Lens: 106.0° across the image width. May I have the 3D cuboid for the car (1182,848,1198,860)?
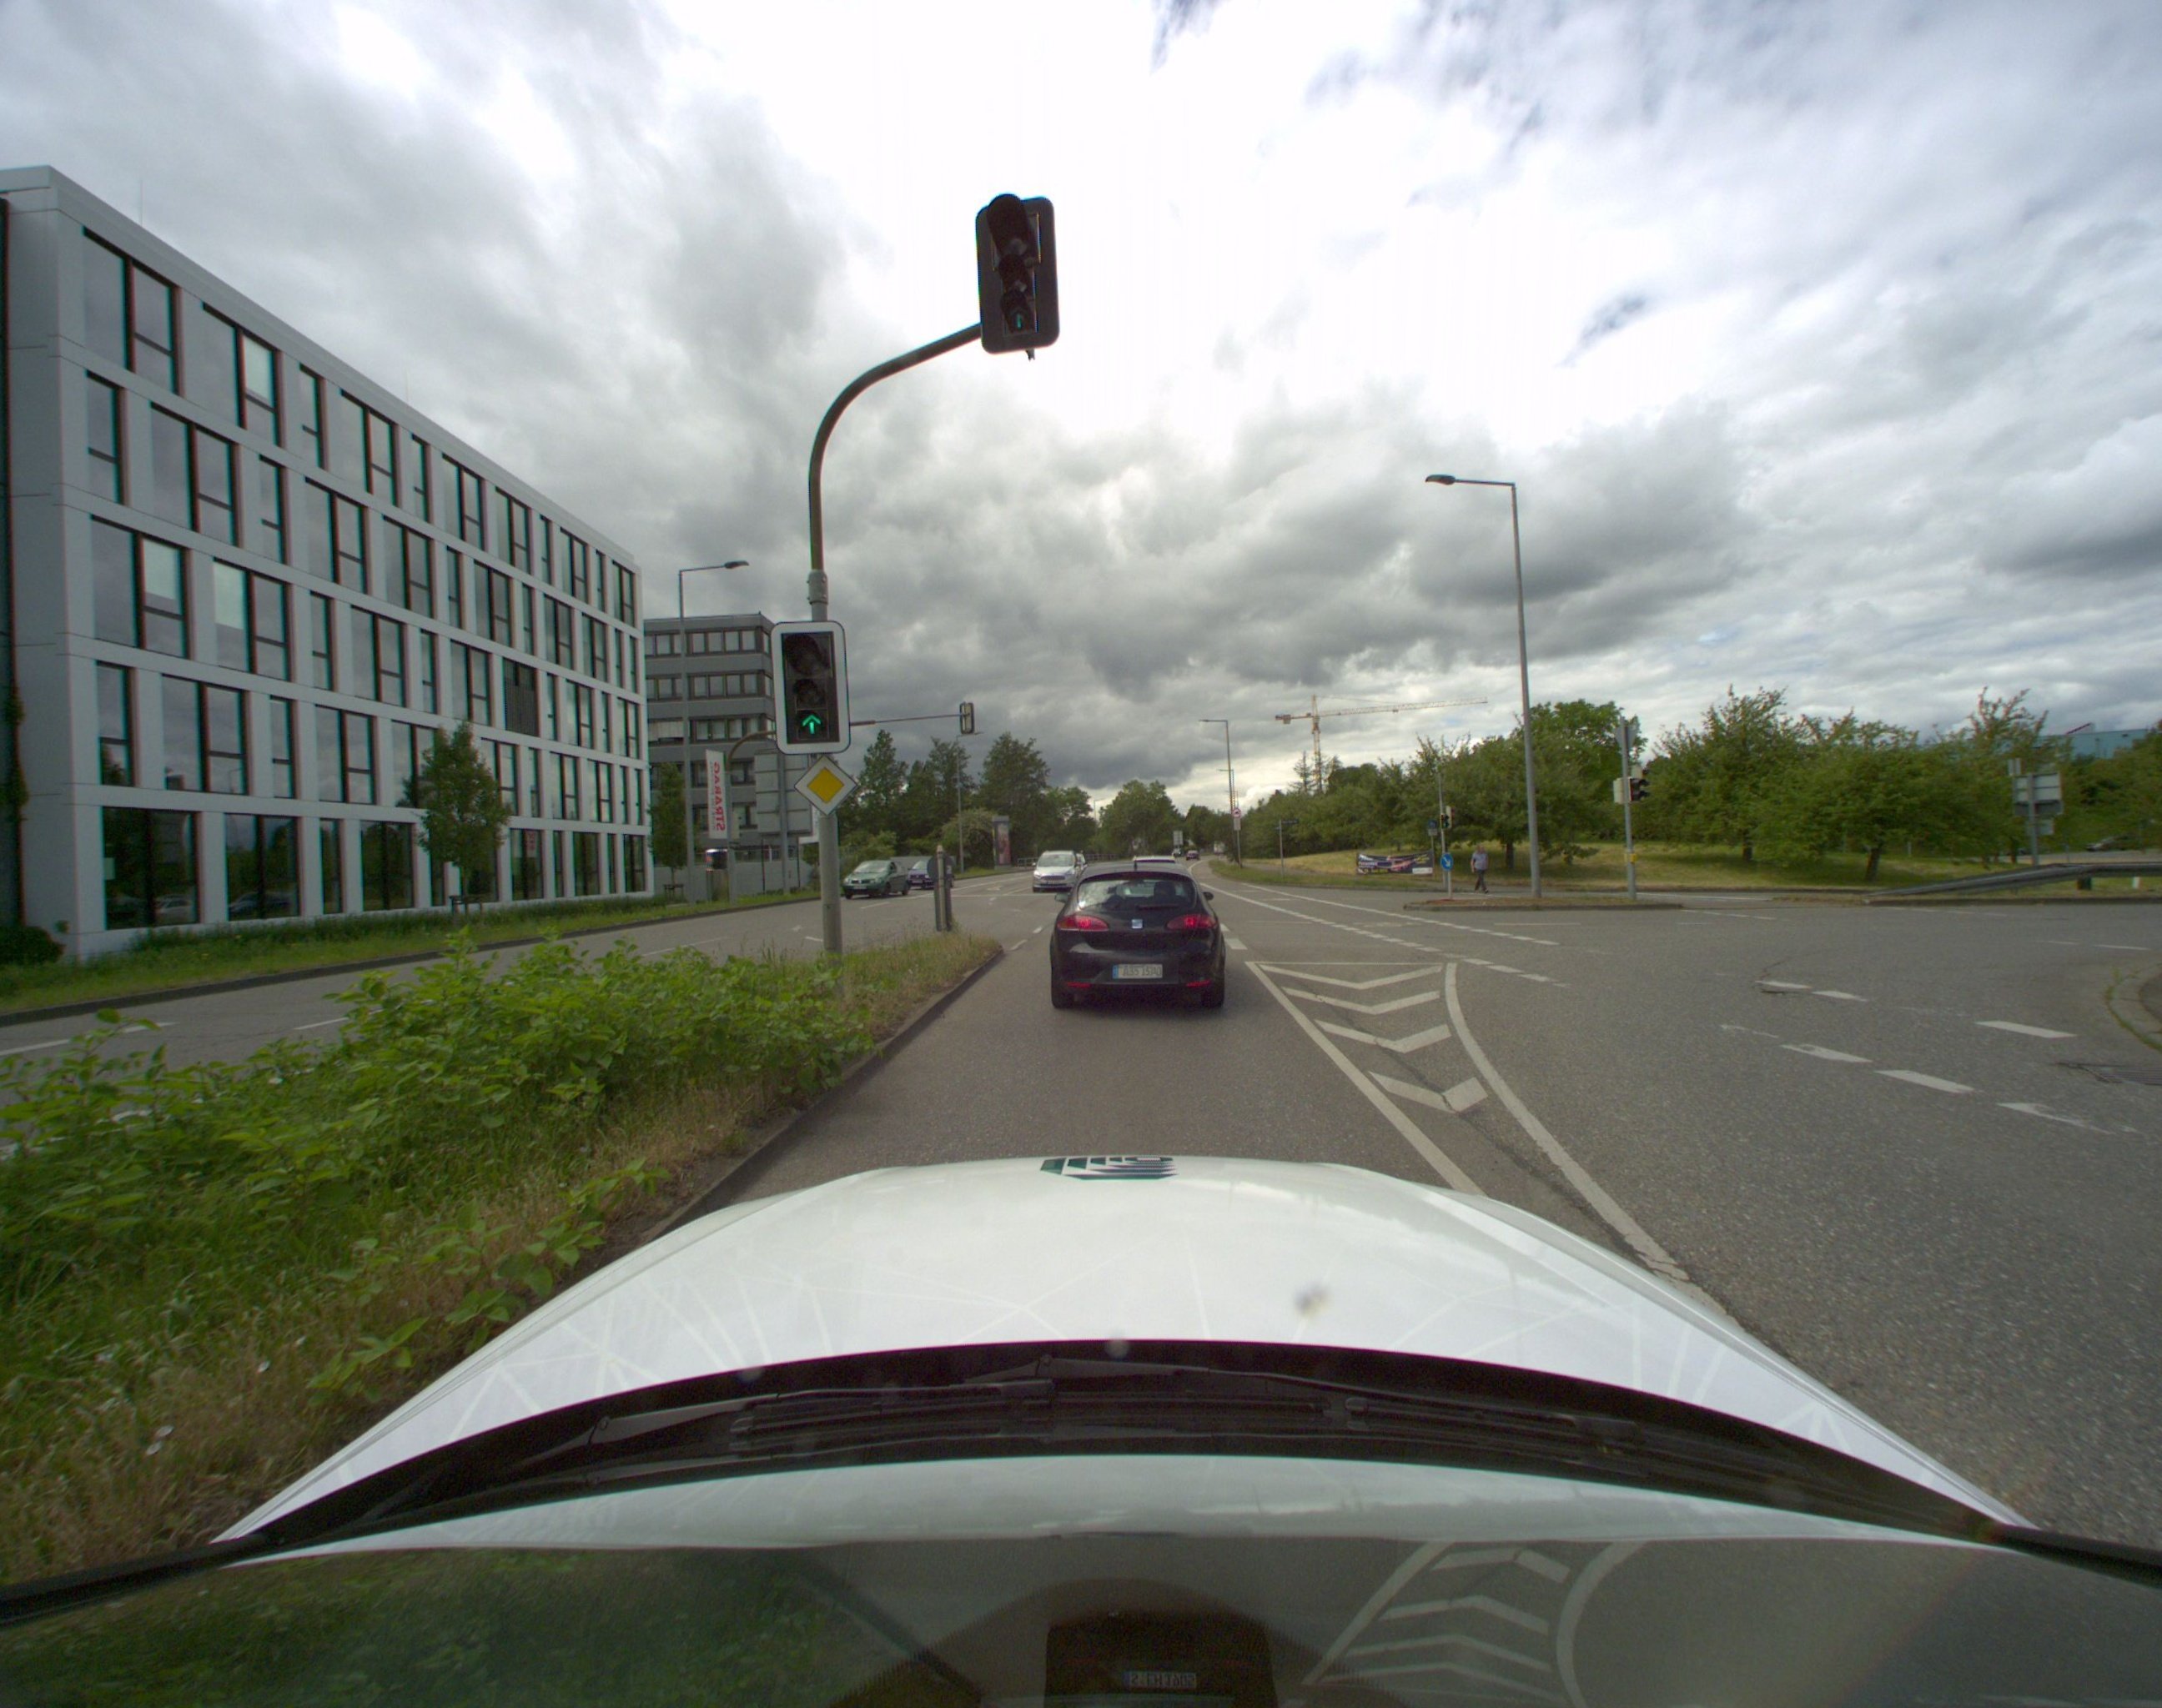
[{"bbox_3d":[15.798,0.007,117.553,1.981,1.565,4.484,-2,0,11],"label":"car"}]

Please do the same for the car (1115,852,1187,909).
[{"bbox_3d":[1.895,0.704,22.888,1.827,1.467,3.753,-1,-1,3],"label":"car"}]

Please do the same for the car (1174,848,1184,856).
[{"bbox_3d":[21.105,-0.375,174.991,1.702,1.581,3.756,-1,-1,13],"label":"car"}]

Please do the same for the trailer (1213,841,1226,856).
[{"bbox_3d":[29.734,-1.074,174.822,2.474,3.073,5.607,-1,-1,13],"label":"trailer"}]

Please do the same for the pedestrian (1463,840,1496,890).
[{"bbox_3d":[14.484,0.396,29.604,0.715,1.793,1.045,-1,-1,5],"label":"pedestrian"}]

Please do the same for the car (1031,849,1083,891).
[{"bbox_3d":[-0.965,0.640,35.082,1.813,1.686,4.649,-1,0,3],"label":"car"}]

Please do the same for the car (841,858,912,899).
[{"bbox_3d":[-7.958,0.916,32.010,1.598,1.432,3.756,-1,0,4],"label":"car"}]

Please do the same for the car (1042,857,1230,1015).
[{"bbox_3d":[0.557,0.757,9.219,1.705,1.417,3.460,-1,0,2],"label":"car"}]

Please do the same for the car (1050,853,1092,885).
[{"bbox_3d":[-0.469,0.715,41.107,1.652,1.518,4.091,-1,0,6],"label":"car"}]

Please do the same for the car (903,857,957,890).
[{"bbox_3d":[-7.233,0.897,39.357,1.546,1.419,3.901,-1,0,5],"label":"car"}]
